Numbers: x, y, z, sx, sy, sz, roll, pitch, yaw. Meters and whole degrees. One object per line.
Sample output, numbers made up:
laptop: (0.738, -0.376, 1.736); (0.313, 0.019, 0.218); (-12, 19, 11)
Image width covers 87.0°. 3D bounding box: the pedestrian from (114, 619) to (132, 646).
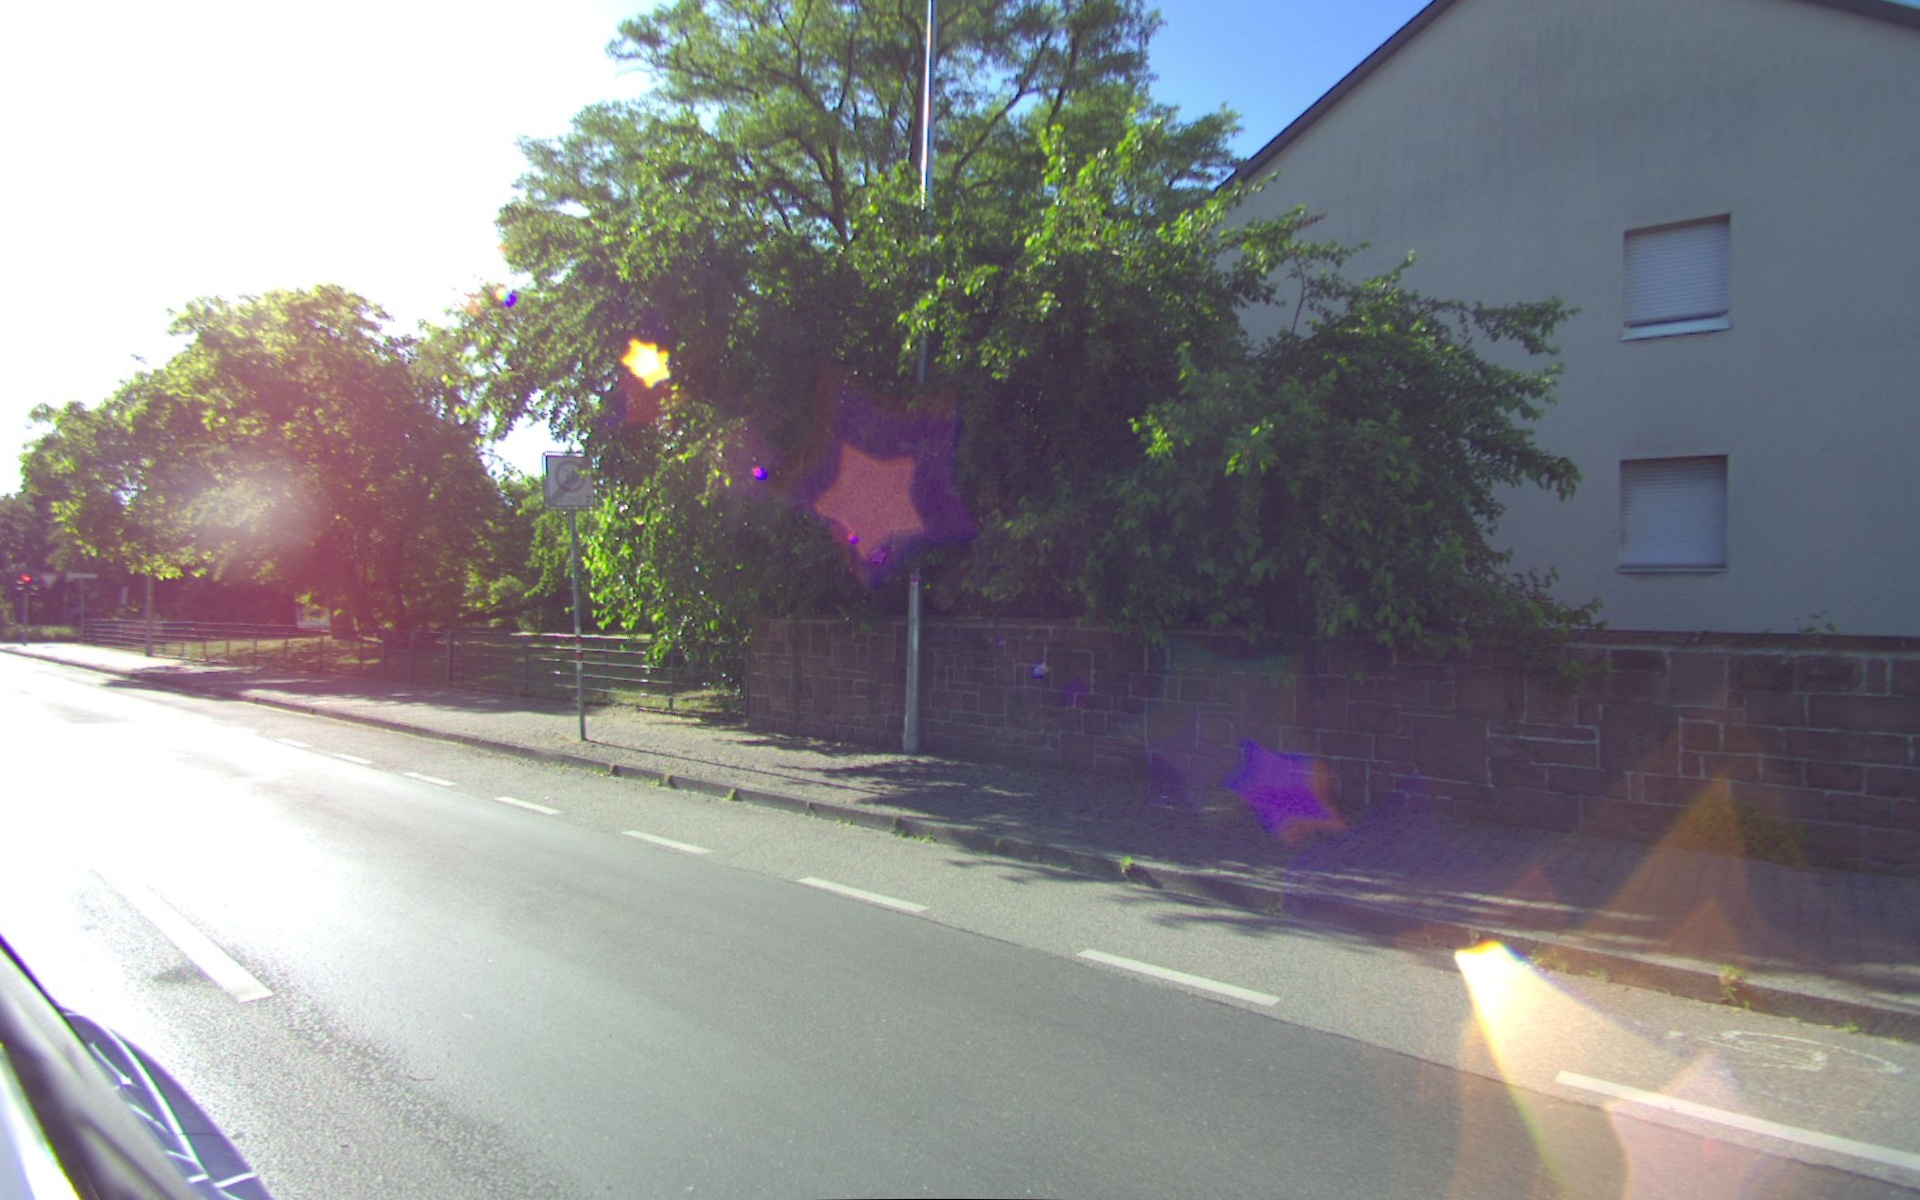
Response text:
pedestrian: (-51.491, 2.015, 62.251); (0.647, 1.646, 0.790); (-2, -1, 41)
